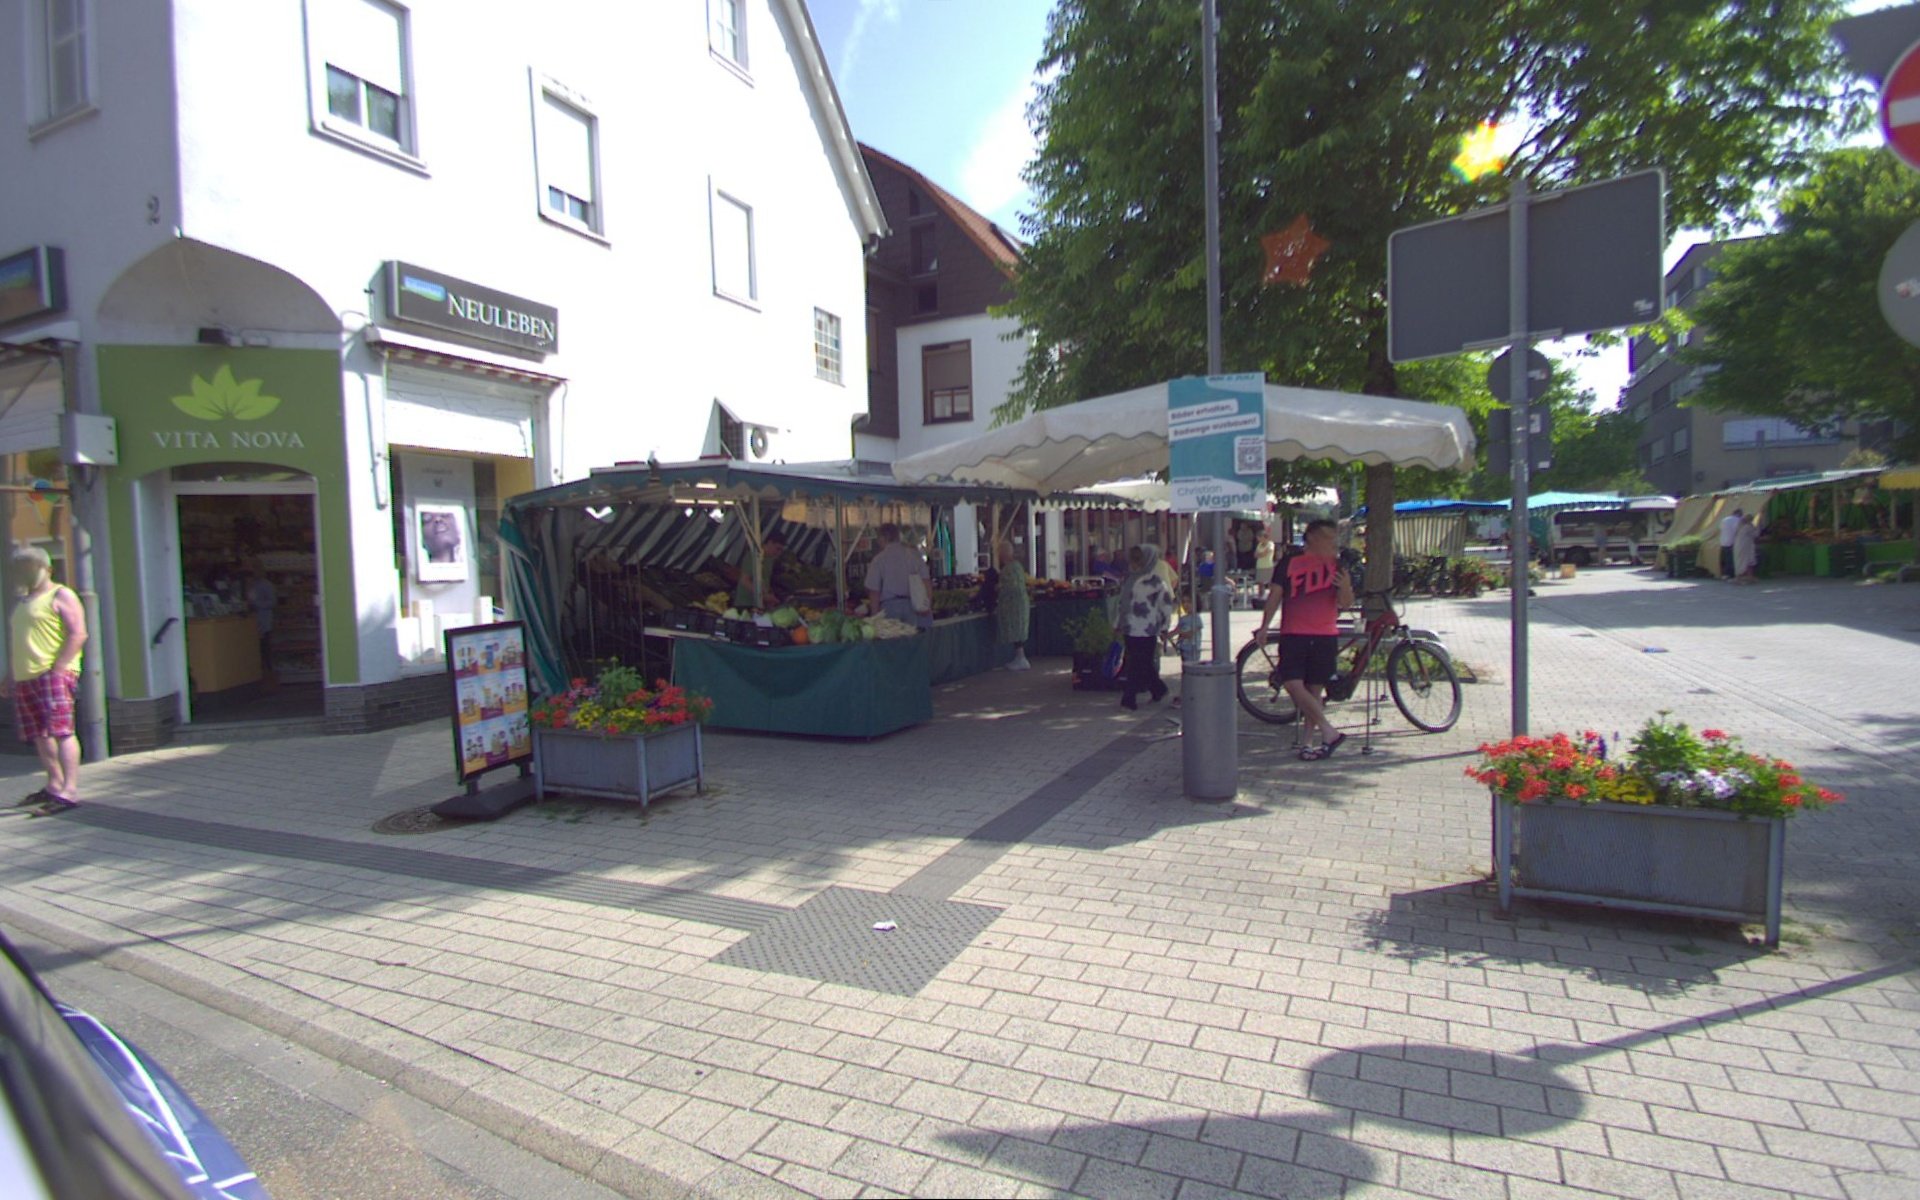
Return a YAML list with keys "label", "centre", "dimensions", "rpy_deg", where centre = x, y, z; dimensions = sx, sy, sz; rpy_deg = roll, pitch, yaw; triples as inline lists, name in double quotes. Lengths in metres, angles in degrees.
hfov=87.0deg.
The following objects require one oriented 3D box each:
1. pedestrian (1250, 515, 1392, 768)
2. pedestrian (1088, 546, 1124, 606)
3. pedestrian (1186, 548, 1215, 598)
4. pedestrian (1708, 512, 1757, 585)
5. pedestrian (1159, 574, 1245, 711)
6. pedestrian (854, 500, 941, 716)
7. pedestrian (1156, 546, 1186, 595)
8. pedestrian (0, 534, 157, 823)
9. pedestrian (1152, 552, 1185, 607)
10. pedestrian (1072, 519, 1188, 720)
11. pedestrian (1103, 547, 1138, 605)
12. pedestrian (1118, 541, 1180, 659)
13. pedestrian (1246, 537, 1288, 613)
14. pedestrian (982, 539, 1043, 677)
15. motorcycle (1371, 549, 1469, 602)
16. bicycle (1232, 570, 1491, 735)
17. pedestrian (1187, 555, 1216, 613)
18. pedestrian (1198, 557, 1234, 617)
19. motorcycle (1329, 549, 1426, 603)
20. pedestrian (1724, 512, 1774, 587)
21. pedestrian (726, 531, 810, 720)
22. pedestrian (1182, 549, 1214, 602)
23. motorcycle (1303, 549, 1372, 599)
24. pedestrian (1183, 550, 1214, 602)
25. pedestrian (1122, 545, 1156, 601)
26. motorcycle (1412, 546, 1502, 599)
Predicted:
- label: "pedestrian"
  centre: [2.533, 0.252, 7.092]
  dimensions: [0.878, 1.670, 0.568]
  rpy_deg: [1, 3, 24]
- label: "pedestrian"
  centre: [3.340, -0.554, 23.141]
  dimensions: [0.624, 1.340, 0.692]
  rpy_deg: [2, 4, 30]
- label: "pedestrian"
  centre: [6.000, -0.686, 25.228]
  dimensions: [0.569, 1.209, 0.645]
  rpy_deg: [2, 4, 28]
- label: "pedestrian"
  centre: [18.741, -1.243, 24.567]
  dimensions: [0.674, 1.694, 0.581]
  rpy_deg: [-3, 0, 10]
- label: "pedestrian"
  centre: [2.177, 0.362, 9.108]
  dimensions: [0.516, 1.169, 0.614]
  rpy_deg: [-1, 1, 40]
- label: "pedestrian"
  centre: [-0.588, 0.072, 9.780]
  dimensions: [0.698, 2.000, 0.651]
  rpy_deg: [-1, 1, 6]
- label: "pedestrian"
  centre: [5.357, -0.751, 25.694]
  dimensions: [0.569, 1.209, 0.645]
  rpy_deg: [2, 4, 28]
- label: "pedestrian"
  centre: [-6.401, 0.503, 6.993]
  dimensions: [1.004, 1.827, 0.910]
  rpy_deg: [-7, 7, -29]
- label: "pedestrian"
  centre: [4.707, -0.472, 22.794]
  dimensions: [0.569, 1.209, 0.645]
  rpy_deg: [2, 4, 28]
- label: "pedestrian"
  centre: [1.562, 0.157, 9.295]
  dimensions: [0.707, 1.737, 0.777]
  rpy_deg: [0, 2, 44]
- label: "pedestrian"
  centre: [3.798, -0.584, 23.933]
  dimensions: [0.624, 1.340, 0.692]
  rpy_deg: [2, 4, 30]
- label: "pedestrian"
  centre: [2.541, -0.008, 13.590]
  dimensions: [0.620, 1.529, 0.627]
  rpy_deg: [-1, 1, 30]
- label: "pedestrian"
  centre: [6.444, -0.545, 21.210]
  dimensions: [0.697, 1.564, 0.566]
  rpy_deg: [2, 4, 33]
- label: "pedestrian"
  centre: [0.655, 0.090, 12.448]
  dimensions: [0.518, 1.639, 0.702]
  rpy_deg: [-1, 1, 22]
- label: "motorcycle"
  centre: [10.902, -0.605, 24.026]
  dimensions: [2.004, 1.204, 0.635]
  rpy_deg: [3, 4, 41]
- label: "bicycle"
  centre: [3.179, 0.418, 8.177]
  dimensions: [1.844, 1.244, 0.615]
  rpy_deg: [-2, 1, 14]
- label: "pedestrian"
  centre: [5.222, -0.357, 21.836]
  dimensions: [0.567, 1.209, 0.647]
  rpy_deg: [1, 3, 16]
- label: "pedestrian"
  centre: [5.261, -0.278, 20.841]
  dimensions: [0.692, 1.209, 0.570]
  rpy_deg: [1, 3, 13]
- label: "motorcycle"
  centre: [9.826, -0.599, 23.857]
  dimensions: [2.004, 1.204, 0.635]
  rpy_deg: [3, 5, 41]
- label: "pedestrian"
  centre: [18.575, -1.186, 23.830]
  dimensions: [0.674, 1.694, 0.581]
  rpy_deg: [-3, 2, 10]
- label: "pedestrian"
  centre: [-2.087, 0.254, 10.995]
  dimensions: [0.696, 1.985, 0.509]
  rpy_deg: [-2, 1, -37]
- label: "pedestrian"
  centre: [5.576, -0.586, 23.706]
  dimensions: [0.569, 1.209, 0.645]
  rpy_deg: [2, 4, 28]
- label: "motorcycle"
  centre: [9.421, -0.657, 25.258]
  dimensions: [1.525, 1.204, 0.638]
  rpy_deg: [2, 3, 27]
- label: "pedestrian"
  centre: [5.765, -0.585, 24.428]
  dimensions: [0.569, 1.209, 0.645]
  rpy_deg: [2, 4, 28]
- label: "pedestrian"
  centre: [4.376, -0.673, 24.751]
  dimensions: [0.624, 1.340, 0.692]
  rpy_deg: [2, 4, 30]
- label: "motorcycle"
  centre: [11.953, -0.688, 24.425]
  dimensions: [0.632, 1.204, 2.012]
  rpy_deg: [-1, 3, -21]
